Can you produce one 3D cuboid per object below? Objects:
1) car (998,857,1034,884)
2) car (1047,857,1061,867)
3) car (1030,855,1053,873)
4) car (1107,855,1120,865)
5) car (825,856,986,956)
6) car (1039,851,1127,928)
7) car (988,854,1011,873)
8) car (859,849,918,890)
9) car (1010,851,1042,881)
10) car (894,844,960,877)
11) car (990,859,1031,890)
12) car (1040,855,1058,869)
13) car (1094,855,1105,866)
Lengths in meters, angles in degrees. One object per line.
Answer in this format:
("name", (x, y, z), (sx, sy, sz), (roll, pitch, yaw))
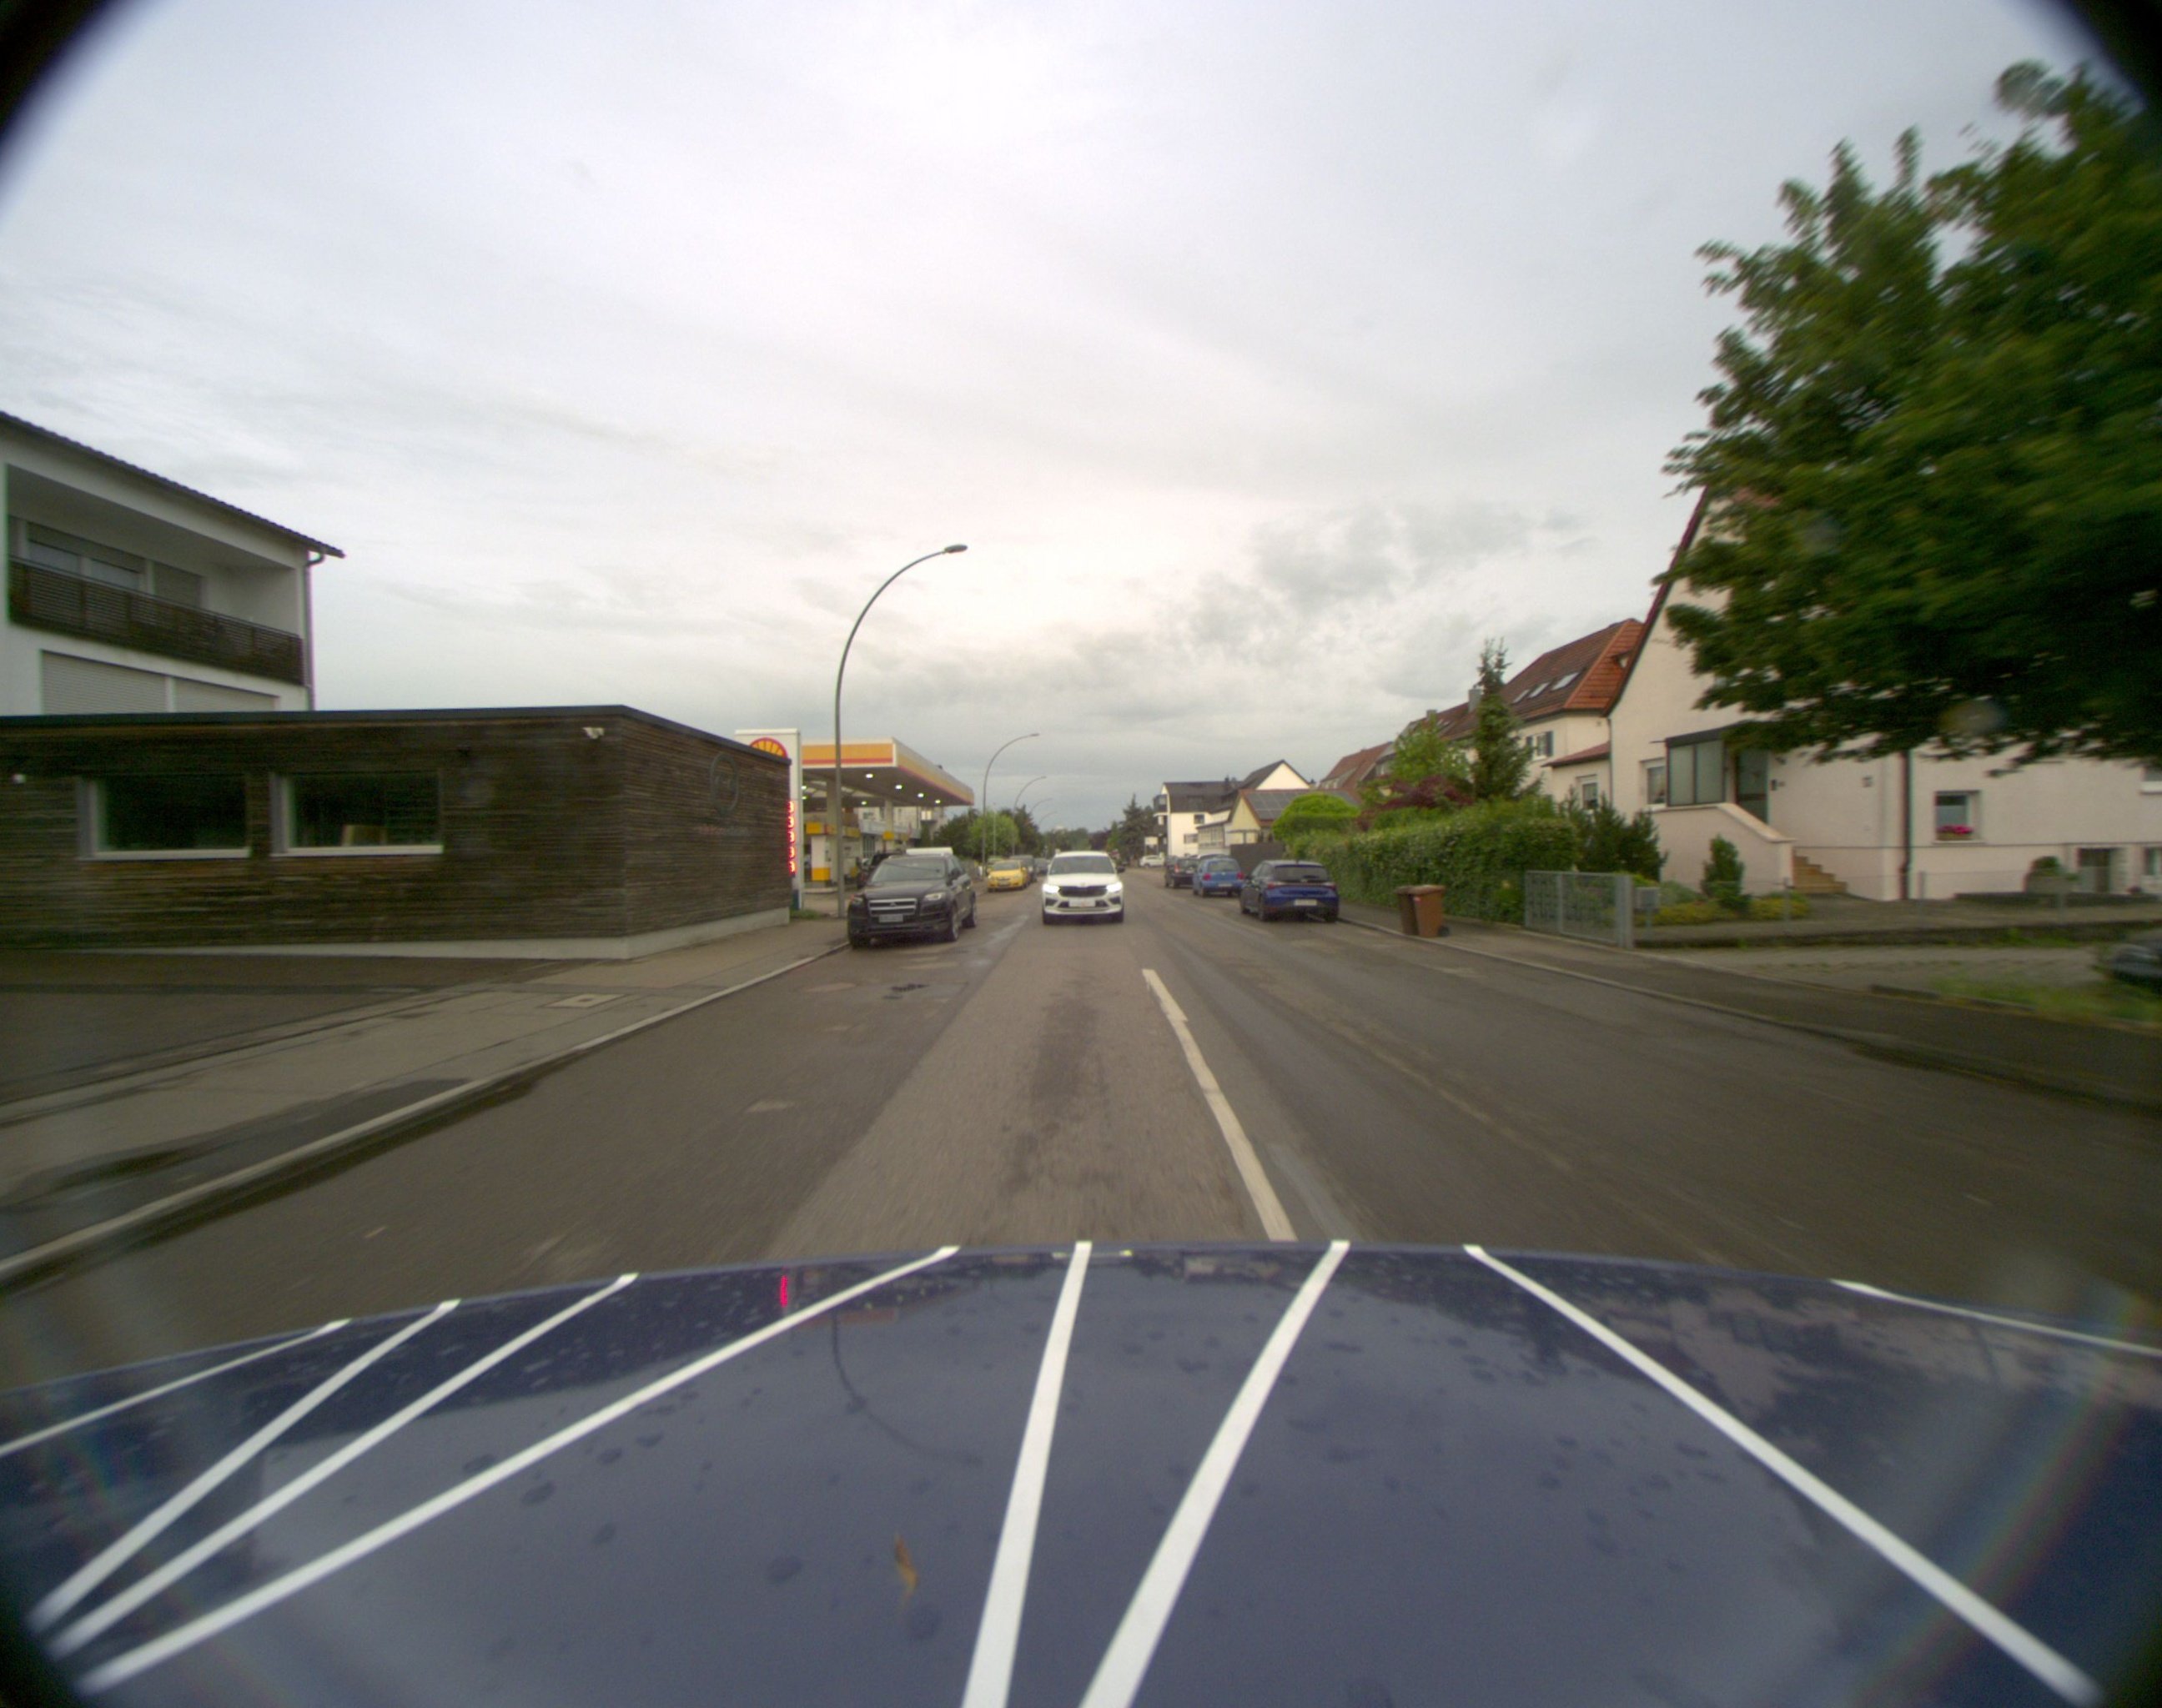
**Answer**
("car", (-3.565, 0.866, 42.192), (1.660, 1.368, 4.024), (-2, 0, -1))
("car", (-3.681, 1.088, 104.584), (1.756, 1.410, 4.110), (-1, 0, 0))
("car", (-3.576, 0.872, 69.157), (1.999, 1.586, 4.000), (-1, 0, -1))
("car", (4.939, 0.935, 116.503), (1.740, 1.496, 3.871), (-1, 0, 0))
("car", (-3.340, 0.937, 15.490), (2.096, 1.652, 4.559), (-3, -1, 1))
("car", (0.031, 0.784, 18.950), (1.884, 1.650, 4.831), (-1, 0, 0))
("car", (-7.609, 0.833, 70.992), (1.999, 1.673, 3.998), (-1, 0, -5))
("car", (-8.702, 0.657, 34.632), (1.824, 1.749, 3.999), (1, 0, -3))
("car", (-3.458, 0.739, 48.274), (1.660, 1.728, 4.444), (-4, 0, -1))
("car", (-12.370, 0.491, 60.896), (4.809, 2.506, 2.243), (-1, 0, -22))
("car", (-3.446, 0.957, 37.474), (1.660, 1.393, 3.801), (-2, 0, -1))
("car", (-3.579, 0.922, 85.937), (1.742, 1.493, 3.882), (-3, 0, 1))
("car", (4.198, 1.480, 173.837), (2.264, 2.275, 4.531), (1, 0, -1))
